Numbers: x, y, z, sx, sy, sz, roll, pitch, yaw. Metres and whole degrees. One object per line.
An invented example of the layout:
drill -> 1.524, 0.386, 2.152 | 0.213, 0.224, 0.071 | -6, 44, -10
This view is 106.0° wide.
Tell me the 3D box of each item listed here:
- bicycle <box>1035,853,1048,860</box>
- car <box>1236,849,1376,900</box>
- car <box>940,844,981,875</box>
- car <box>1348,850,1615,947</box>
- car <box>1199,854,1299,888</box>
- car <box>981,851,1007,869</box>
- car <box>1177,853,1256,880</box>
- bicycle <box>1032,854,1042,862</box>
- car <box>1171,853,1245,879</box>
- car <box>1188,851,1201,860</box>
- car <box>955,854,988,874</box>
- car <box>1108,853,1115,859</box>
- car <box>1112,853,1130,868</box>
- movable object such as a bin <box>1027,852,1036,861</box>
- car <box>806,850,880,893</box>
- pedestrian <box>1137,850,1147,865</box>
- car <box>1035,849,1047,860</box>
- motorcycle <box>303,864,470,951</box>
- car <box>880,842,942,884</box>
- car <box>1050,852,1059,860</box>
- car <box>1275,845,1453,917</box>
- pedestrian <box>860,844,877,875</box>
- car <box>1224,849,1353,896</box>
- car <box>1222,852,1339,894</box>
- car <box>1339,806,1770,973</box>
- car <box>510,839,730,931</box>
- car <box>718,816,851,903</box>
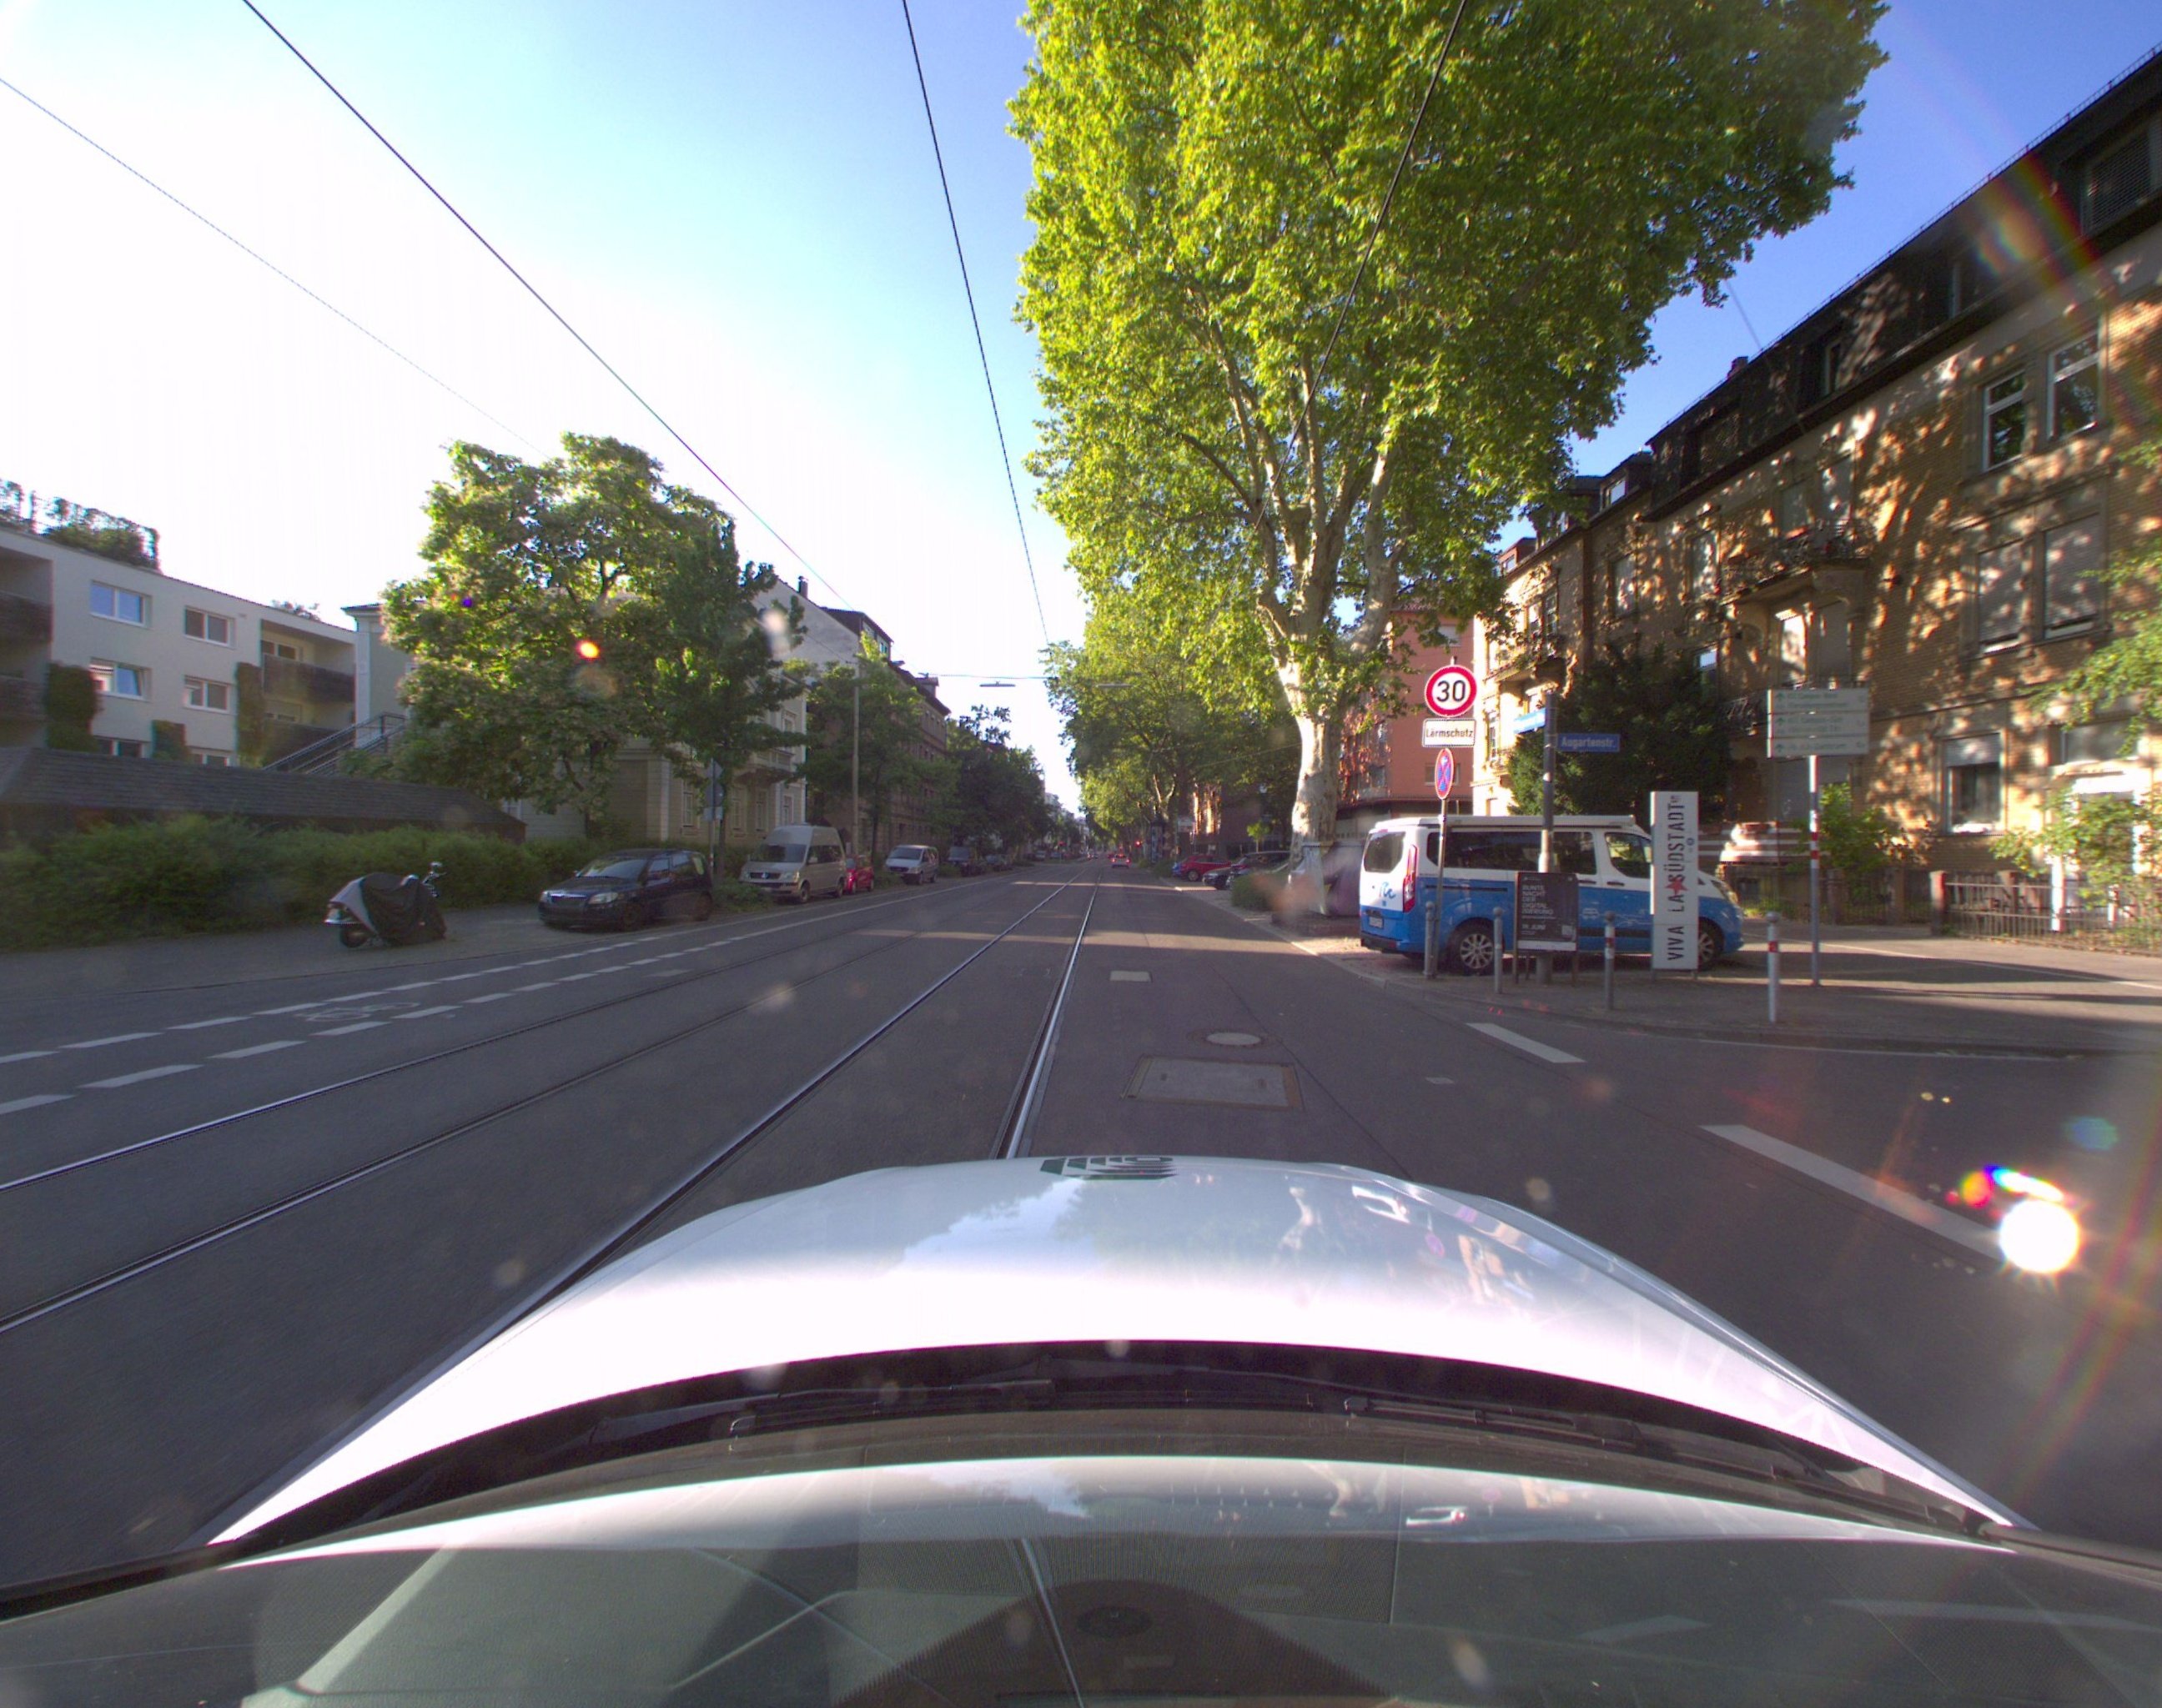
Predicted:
bicycle -> -7.198, 0.477, 148.892 | 2.244, 1.074, 0.637 | 3, 0, 2
car -> 7.324, 0.642, 26.852 | 4.181, 1.619, 1.819 | 0, 0, 4
car -> -8.171, 0.352, 55.468 | 1.987, 2.013, 4.835 | 0, 0, 1
car -> 6.827, 0.722, 14.170 | 3.770, 1.488, 1.790 | -1, 0, -1
car -> 7.492, 0.740, 36.584 | 4.184, 1.447, 1.818 | 0, 0, 1
car -> -7.547, 0.509, 70.970 | 1.652, 1.445, 3.950 | 1, 0, 1
car -> 7.859, 0.708, 47.406 | 4.384, 1.543, 1.954 | 0, 0, 4
bicycle -> -7.070, 0.614, 130.172 | 1.528, 1.075, 0.885 | 3, 0, 1
car -> 7.751, 0.710, 49.694 | 4.378, 1.543, 1.822 | 0, 0, 8
car -> 18.020, 0.222, 128.978 | 1.595, 1.495, 3.417 | 0, 0, 0
car -> -8.104, 0.714, 60.638 | 1.846, 1.458, 4.270 | 0, 0, 1
car -> 7.422, 0.451, 199.852 | 1.781, 1.513, 4.002 | 0, 0, 2
car -> 4.122, 0.630, 83.717 | 1.781, 1.513, 4.002 | 0, 0, 2
movable object such as a bin -> -7.782, 0.436, 128.115 | 1.167, 1.348, 0.782 | 4, 0, -3
car -> -9.118, 0.628, 31.523 | 1.679, 1.539, 3.708 | 0, 0, 1
pedestrian -> 7.929, 0.491, 105.662 | 0.980, 1.864, 1.015 | -3, 0, -4
car -> -6.956, 0.125, 141.504 | 1.682, 1.940, 4.001 | 0, 0, 2
motorcycle -> -10.955, 0.796, 12.972 | 0.670, 1.139, 2.153 | 3, 2, 4
car -> -8.504, 0.420, 41.205 | 1.836, 1.989, 4.991 | 0, 0, 3
car -> -5.673, 0.434, 173.720 | 1.587, 1.548, 4.002 | 3, 0, 2
car -> 6.913, 0.645, 20.168 | 3.770, 1.619, 1.790 | -1, 0, -1
pedestrian -> -11.569, 0.304, 44.336 | 0.602, 1.662, 0.948 | 1, 0, 3
car -> 7.437, 0.646, 29.409 | 4.188, 1.619, 1.878 | 0, 0, -1
car -> 7.723, 0.709, 31.804 | 4.181, 1.574, 1.819 | 0, 0, 4
car -> 6.424, 0.438, 11.500 | 4.833, 2.013, 2.193 | -1, 0, -2
car -> -9.477, 0.560, 17.221 | 1.983, 1.690, 4.266 | 0, 0, 4
car -> -9.298, 0.163, 26.164 | 2.296, 2.508, 5.343 | 0, 0, 0
